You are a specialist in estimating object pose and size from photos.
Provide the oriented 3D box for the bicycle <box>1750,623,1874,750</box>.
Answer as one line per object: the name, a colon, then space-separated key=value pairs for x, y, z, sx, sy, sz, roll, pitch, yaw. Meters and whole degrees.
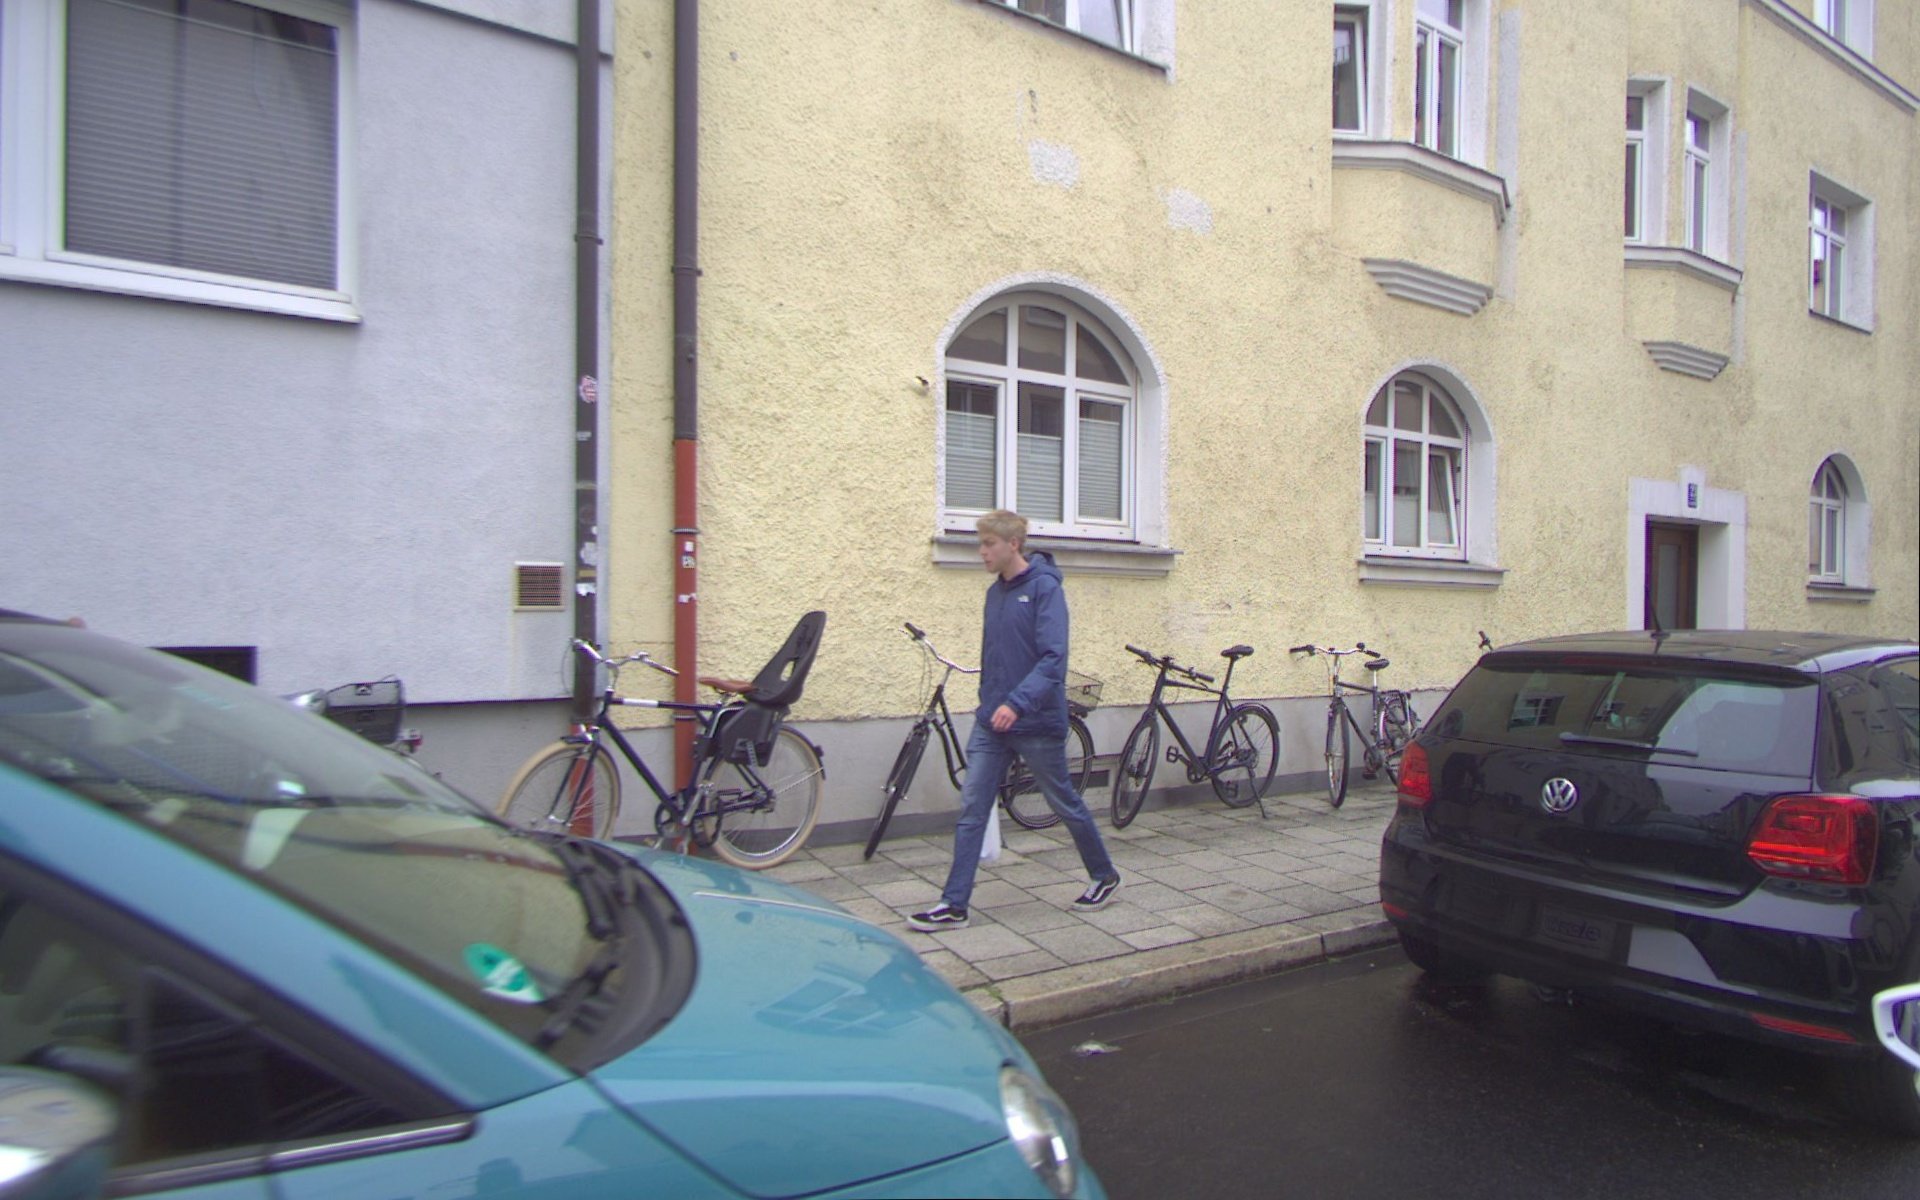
bicycle: x=9.464 y=0.932 z=11.144 sx=1.534 sy=1.296 sz=0.532 roll=2 pitch=2 yaw=-32

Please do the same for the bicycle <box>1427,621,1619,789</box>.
bicycle: x=4.660 y=0.822 z=8.285 sx=1.716 sy=1.250 sz=0.590 roll=2 pitch=0 yaw=-31

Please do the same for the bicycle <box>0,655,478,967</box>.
bicycle: x=-2.783 y=0.750 z=3.959 sx=1.552 sy=1.044 sz=0.393 roll=2 pitch=0 yaw=-31

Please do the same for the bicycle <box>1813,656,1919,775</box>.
bicycle: x=10.908 y=1.347 z=12.032 sx=1.534 sy=1.296 sz=0.532 roll=2 pitch=2 yaw=-32

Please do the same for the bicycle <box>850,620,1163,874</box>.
bicycle: x=0.294 y=0.759 z=5.704 sx=1.716 sy=1.250 sz=0.590 roll=2 pitch=0 yaw=-31

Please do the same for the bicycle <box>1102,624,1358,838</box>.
bicycle: x=1.815 y=0.806 z=6.663 sx=1.716 sy=1.250 sz=0.590 roll=2 pitch=0 yaw=-31

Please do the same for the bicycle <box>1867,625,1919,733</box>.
bicycle: x=12.344 y=0.996 z=12.874 sx=1.534 sy=1.296 sz=0.590 roll=2 pitch=2 yaw=-32

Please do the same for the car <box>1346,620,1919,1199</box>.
car: x=3.453 y=0.845 z=4.141 sx=3.721 sy=1.479 sz=1.555 roll=1 pitch=-1 yaw=-32

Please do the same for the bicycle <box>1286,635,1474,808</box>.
bicycle: x=3.230 y=0.882 z=7.675 sx=1.614 sy=1.206 sz=0.437 roll=2 pitch=0 yaw=-31

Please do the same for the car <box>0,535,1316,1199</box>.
car: x=-1.371 y=0.697 z=1.199 sx=3.362 sy=1.479 sz=1.556 roll=1 pitch=-1 yaw=-29

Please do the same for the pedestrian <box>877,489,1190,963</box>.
pedestrian: x=0.307 y=0.481 z=4.417 sx=1.055 sy=1.788 sz=0.835 roll=1 pitch=1 yaw=-30

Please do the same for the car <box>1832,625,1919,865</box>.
car: x=7.588 y=0.928 z=6.729 sx=3.432 sy=1.479 sz=1.556 roll=1 pitch=-1 yaw=-29

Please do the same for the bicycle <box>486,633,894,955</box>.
bicycle: x=-1.227 y=0.800 z=4.687 sx=1.716 sy=1.250 sz=0.633 roll=2 pitch=0 yaw=-31
